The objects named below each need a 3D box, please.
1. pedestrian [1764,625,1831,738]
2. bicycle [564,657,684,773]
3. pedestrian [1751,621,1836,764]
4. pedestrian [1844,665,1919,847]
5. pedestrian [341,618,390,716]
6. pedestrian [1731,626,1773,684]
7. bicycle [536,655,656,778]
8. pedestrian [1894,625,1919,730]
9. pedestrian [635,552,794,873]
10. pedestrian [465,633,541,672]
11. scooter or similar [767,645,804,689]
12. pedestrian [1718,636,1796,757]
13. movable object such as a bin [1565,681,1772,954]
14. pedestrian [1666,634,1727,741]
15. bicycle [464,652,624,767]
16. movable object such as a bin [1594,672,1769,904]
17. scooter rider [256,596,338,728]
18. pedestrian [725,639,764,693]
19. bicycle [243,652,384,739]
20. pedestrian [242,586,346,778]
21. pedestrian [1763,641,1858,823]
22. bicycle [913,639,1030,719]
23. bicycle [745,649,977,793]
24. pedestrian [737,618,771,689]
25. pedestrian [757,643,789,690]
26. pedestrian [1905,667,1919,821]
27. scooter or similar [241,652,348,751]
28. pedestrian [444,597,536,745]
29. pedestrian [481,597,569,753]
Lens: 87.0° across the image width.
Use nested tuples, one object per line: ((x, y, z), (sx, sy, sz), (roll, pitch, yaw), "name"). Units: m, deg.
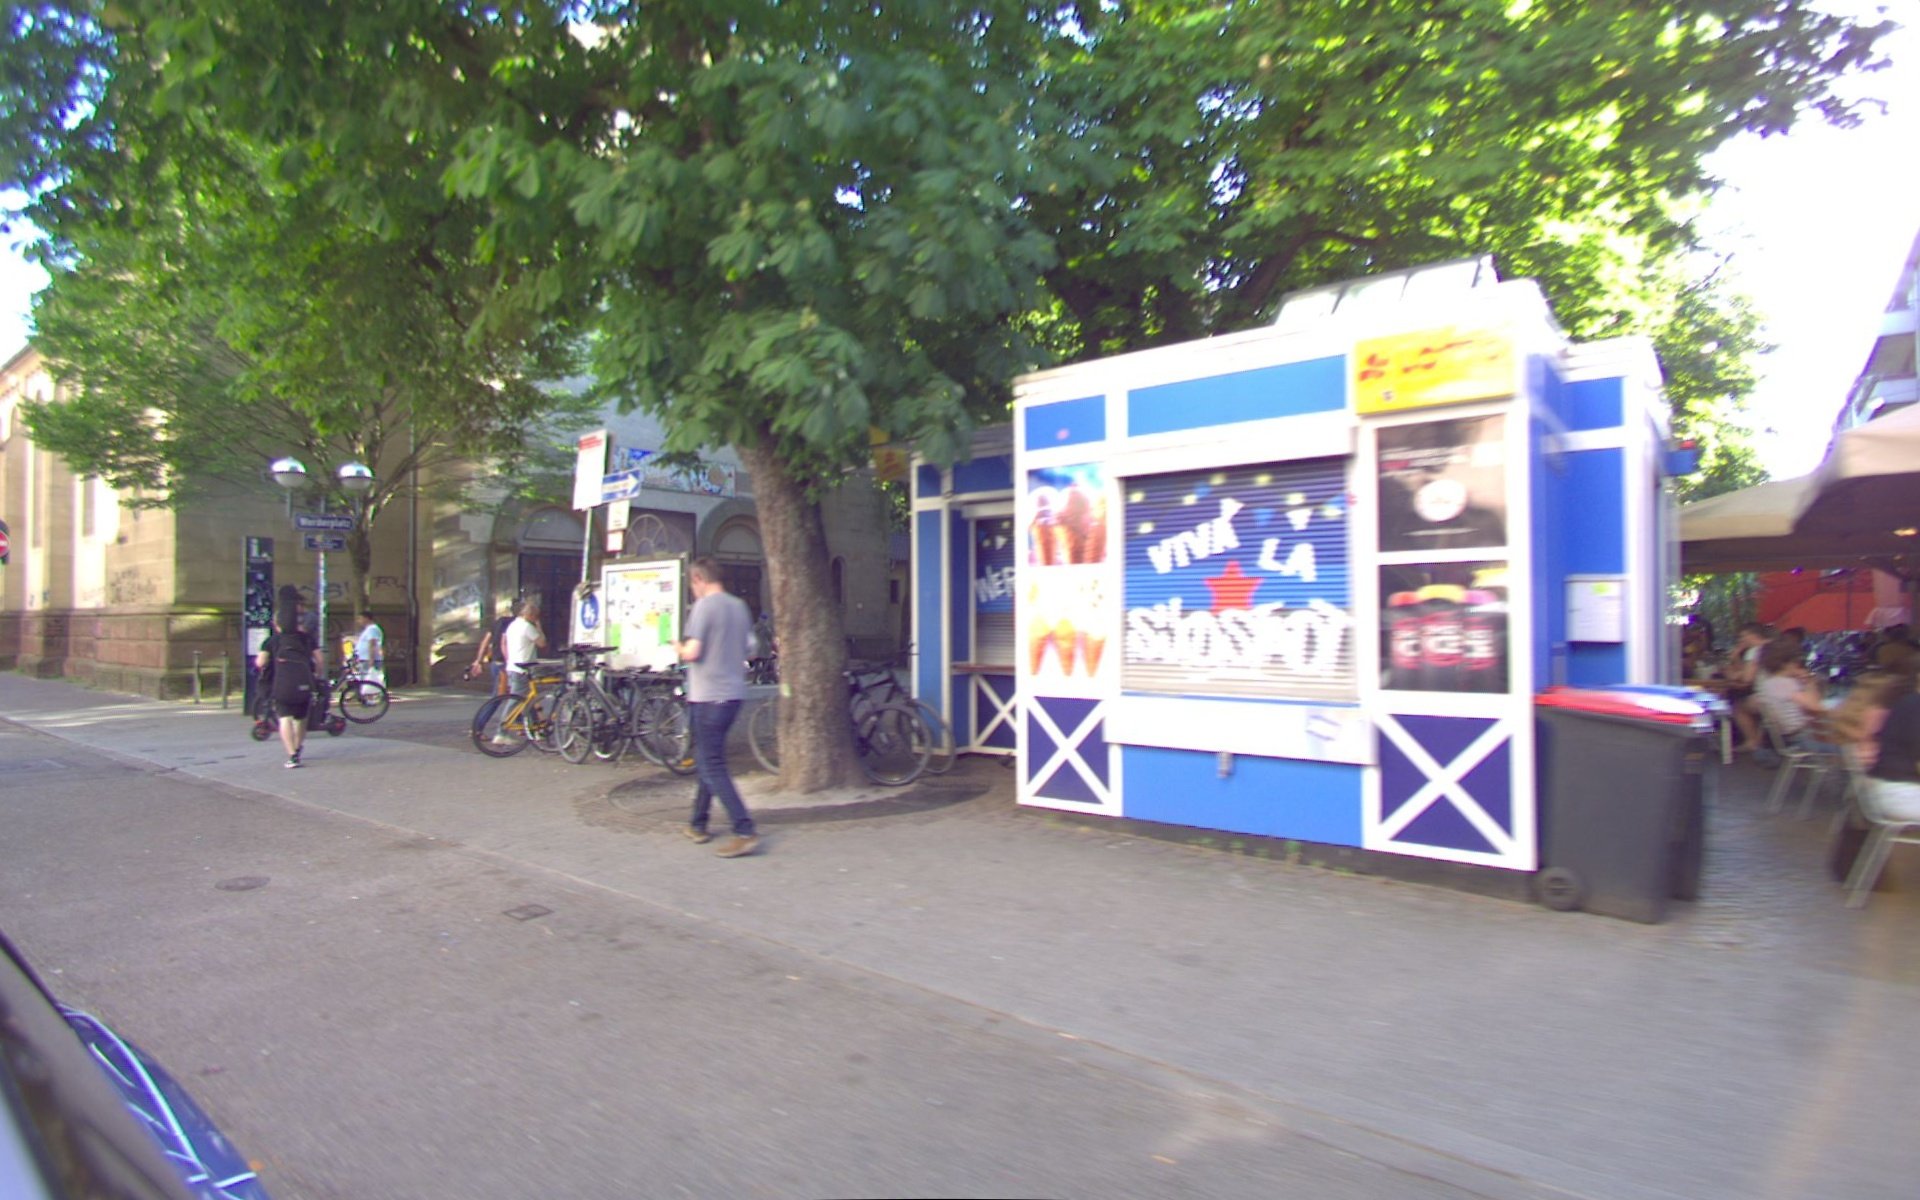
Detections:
((11.047, 1.059, 13.364), (0.621, 1.450, 0.467), (-2, -3, 38), "pedestrian")
((-3.346, 1.101, 10.009), (1.576, 1.054, 0.289), (-2, -2, 38), "bicycle")
((8.657, 0.939, 10.530), (0.621, 1.430, 0.510), (-2, -3, 38), "pedestrian")
((6.261, 1.024, 6.813), (0.425, 1.129, 0.649), (-1, -1, 39), "pedestrian")
((-10.079, 1.117, 17.162), (0.713, 1.605, 0.474), (-1, 0, 35), "pedestrian")
((18.409, 1.273, 23.540), (0.725, 1.343, 0.467), (-2, -3, 38), "pedestrian")
((-3.533, 1.087, 9.751), (1.576, 1.090, 0.289), (-2, -1, 38), "bicycle")
((13.482, 1.068, 14.087), (0.621, 1.450, 0.467), (-2, -3, 38), "pedestrian")
((-1.522, 0.641, 6.288), (0.696, 1.847, 0.640), (-1, 1, 38), "pedestrian")
((-9.797, 1.112, 21.700), (1.405, 0.766, 0.947), (-1, 0, 38), "pedestrian")
((-4.216, 1.610, 24.405), (0.721, 1.013, 0.505), (0, 0, -41), "scooter or similar")
((8.819, 1.047, 11.212), (0.621, 1.296, 0.510), (-2, -3, 38), "pedestrian")
((3.495, 0.994, 4.989), (0.773, 1.094, 0.861), (-1, 0, 39), "movable object such as a bin")
((10.226, 1.196, 14.049), (0.621, 1.450, 0.467), (-2, -3, 38), "pedestrian")
((-4.444, 1.139, 10.883), (1.554, 1.090, 0.347), (0, 0, -42), "bicycle")
((4.065, 0.992, 5.697), (0.745, 1.094, 0.861), (-1, 0, 39), "movable object such as a bin")
((-8.617, 0.776, 13.155), (0.719, 1.660, 0.681), (-1, 0, 37), "scooter rider")
((-5.243, 1.593, 24.632), (0.740, 1.241, 0.608), (-1, 0, 37), "pedestrian")
((-9.065, 1.309, 14.255), (0.346, 1.073, 1.674), (-1, 0, 36), "bicycle")
((-6.873, 0.804, 10.450), (0.719, 1.887, 0.709), (-1, 0, 38), "pedestrian")
((6.317, 0.953, 7.532), (0.514, 1.273, 0.420), (-1, -1, 39), "pedestrian")
((0.139, 1.145, 14.750), (1.934, 1.099, 0.226), (-3, -2, 38), "bicycle")
((-0.885, 1.005, 8.783), (2.026, 1.139, 0.494), (-1, -1, 25), "bicycle")
((-4.858, 1.258, 23.898), (0.547, 1.644, 0.556), (-1, 0, 26), "pedestrian")
((-4.646, 1.648, 25.131), (0.490, 1.116, 0.609), (-1, 0, 37), "pedestrian")
((7.148, 1.038, 7.309), (0.425, 1.079, 0.508), (-1, -1, 39), "pedestrian")
((-8.579, 1.280, 13.071), (0.514, 1.169, 1.044), (-1, 0, 37), "scooter or similar")
((-6.107, 0.884, 13.146), (1.001, 1.839, 0.687), (-1, 0, 36), "pedestrian")
((-5.381, 0.891, 12.525), (0.687, 1.849, 0.754), (-1, 0, 36), "pedestrian")
